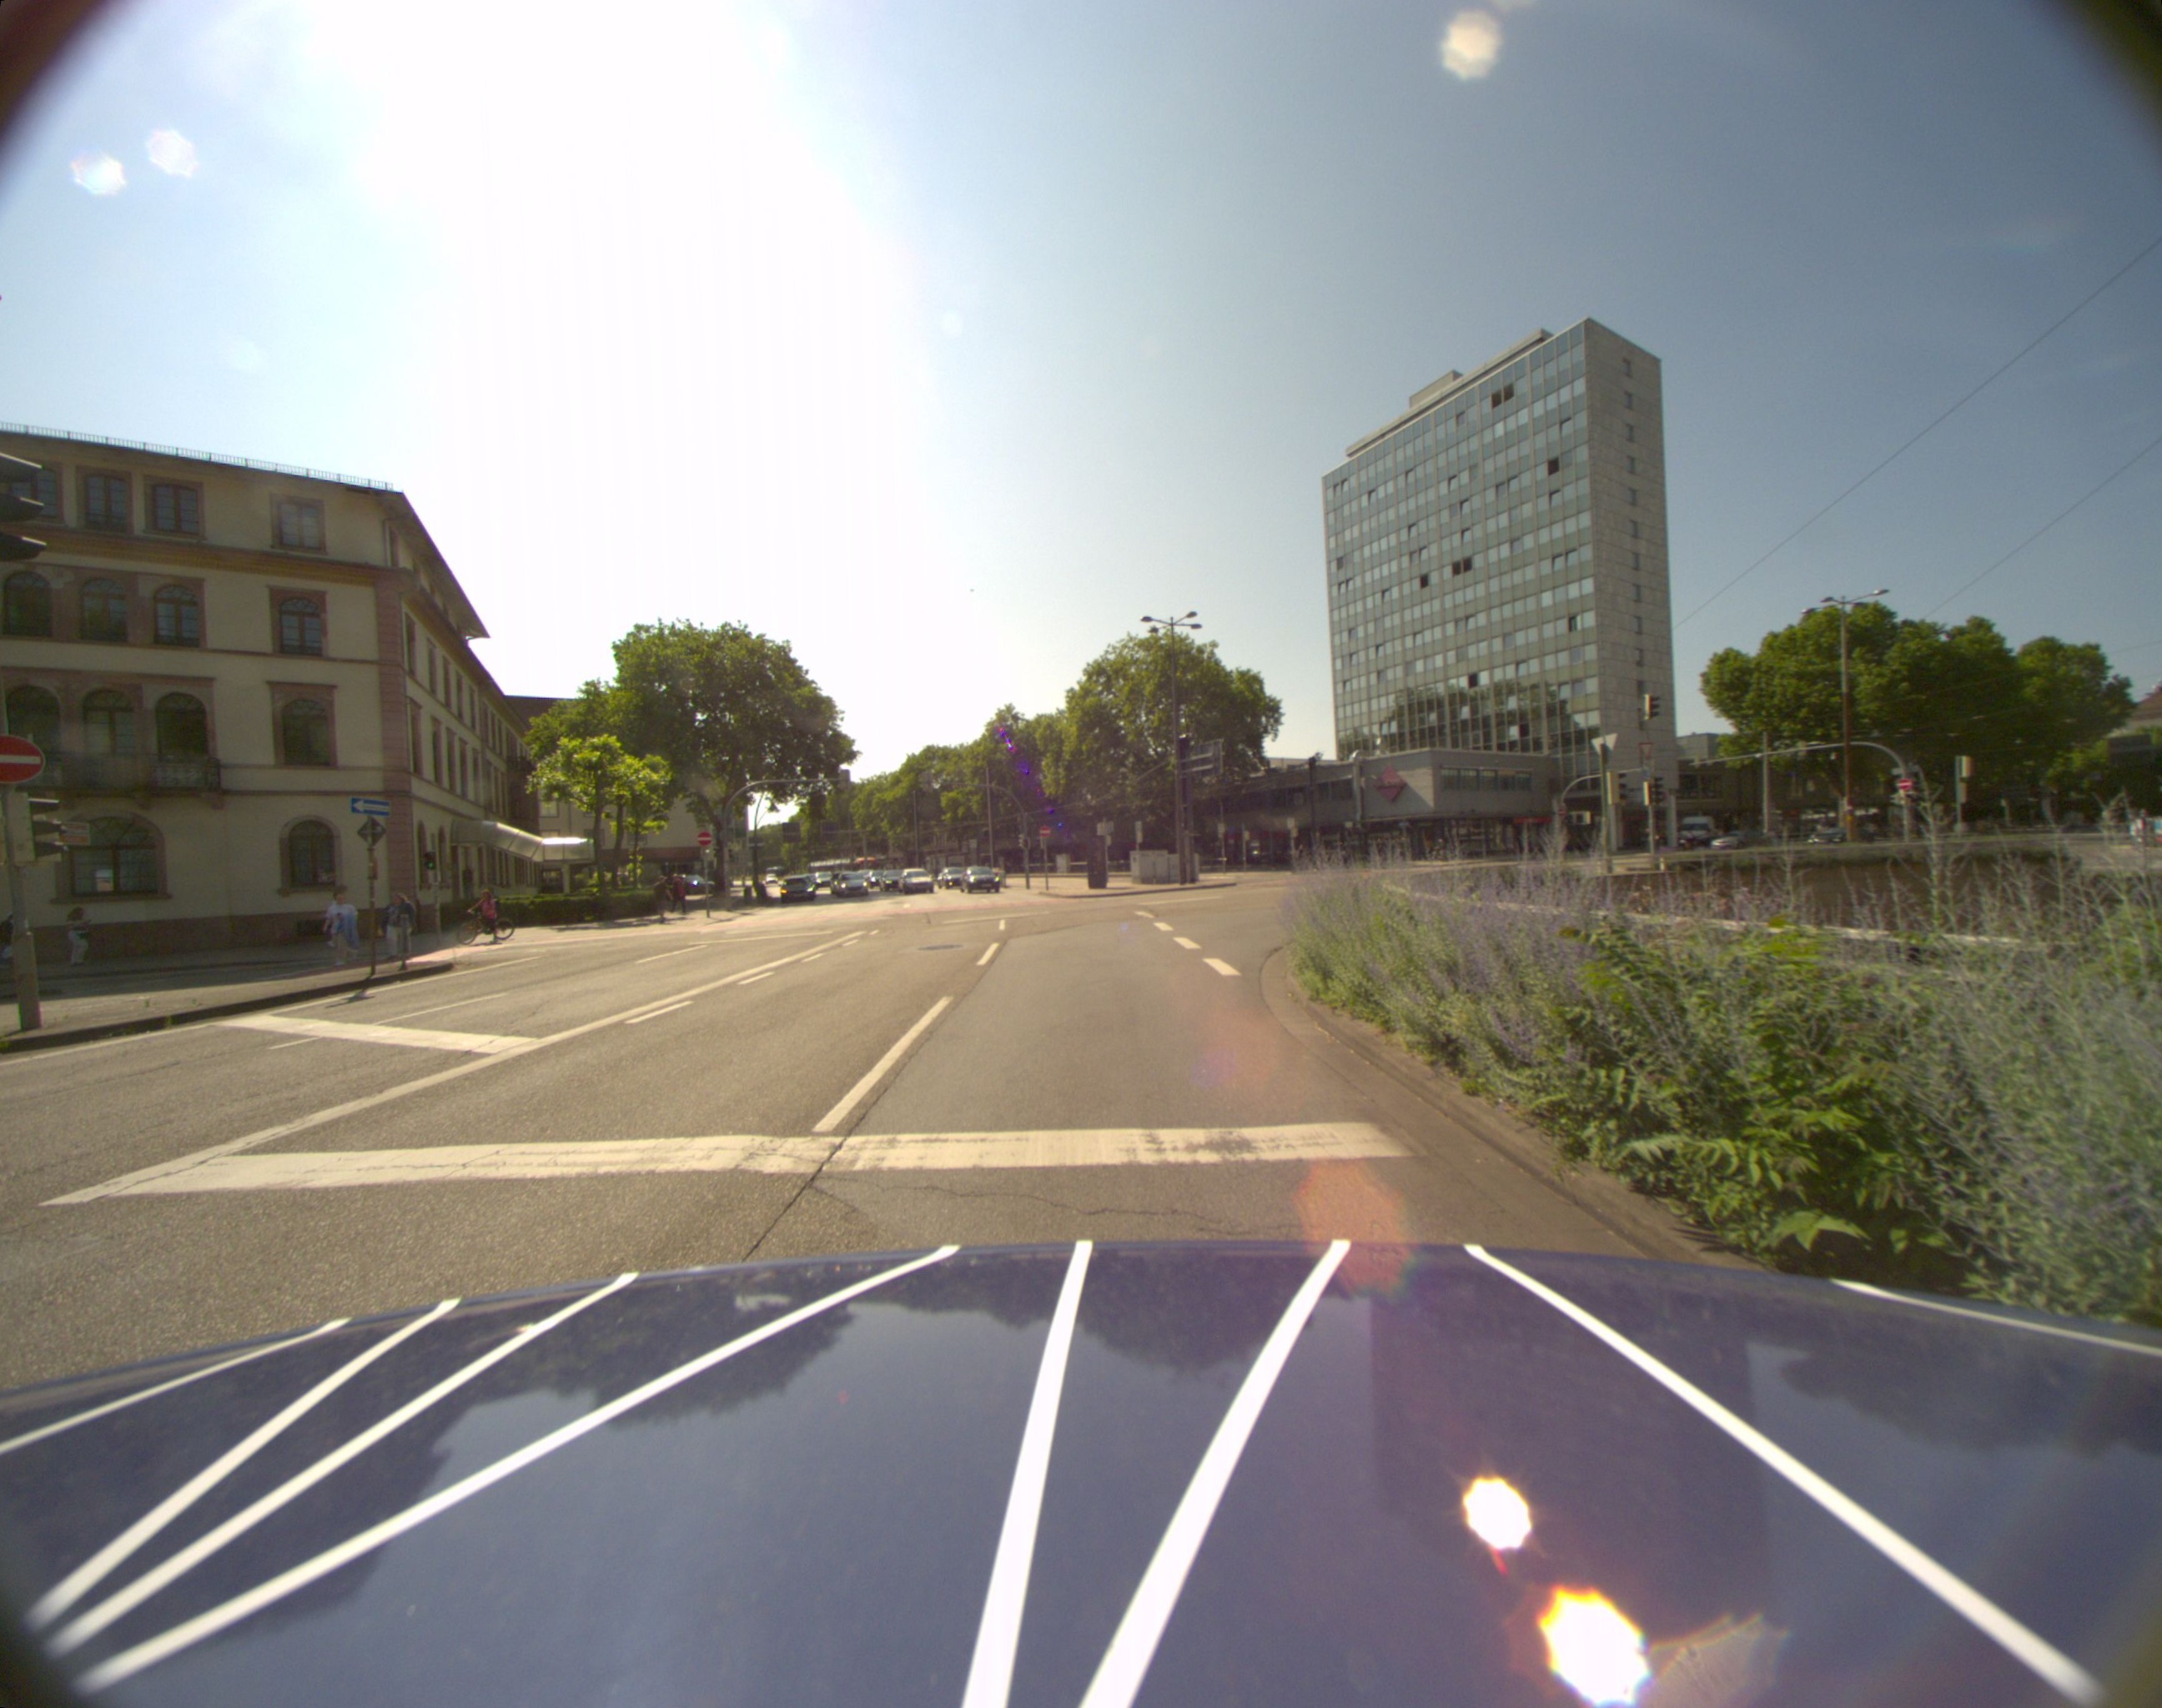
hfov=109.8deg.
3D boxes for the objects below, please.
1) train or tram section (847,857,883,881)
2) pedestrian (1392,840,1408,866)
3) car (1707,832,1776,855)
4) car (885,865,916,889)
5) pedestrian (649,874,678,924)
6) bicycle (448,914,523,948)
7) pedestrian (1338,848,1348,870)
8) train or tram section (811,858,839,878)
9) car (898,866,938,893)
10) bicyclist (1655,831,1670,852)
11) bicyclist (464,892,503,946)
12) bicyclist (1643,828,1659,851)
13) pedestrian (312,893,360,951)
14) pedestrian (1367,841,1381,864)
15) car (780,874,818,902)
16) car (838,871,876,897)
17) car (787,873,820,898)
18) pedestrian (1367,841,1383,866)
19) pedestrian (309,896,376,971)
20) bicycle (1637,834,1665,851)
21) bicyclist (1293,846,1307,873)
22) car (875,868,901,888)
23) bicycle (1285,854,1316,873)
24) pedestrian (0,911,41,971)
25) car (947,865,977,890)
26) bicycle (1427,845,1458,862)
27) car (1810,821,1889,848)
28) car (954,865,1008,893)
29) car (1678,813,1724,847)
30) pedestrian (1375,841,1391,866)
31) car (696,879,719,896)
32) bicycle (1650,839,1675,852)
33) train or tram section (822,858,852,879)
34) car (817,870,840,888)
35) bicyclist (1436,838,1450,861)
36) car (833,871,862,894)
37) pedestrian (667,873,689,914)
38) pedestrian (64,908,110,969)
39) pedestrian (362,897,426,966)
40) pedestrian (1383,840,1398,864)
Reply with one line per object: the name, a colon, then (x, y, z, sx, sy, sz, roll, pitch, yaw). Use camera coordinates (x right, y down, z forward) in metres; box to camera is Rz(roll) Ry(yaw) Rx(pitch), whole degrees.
train or tram section: (-31.361, 2.172, 110.053, 2.739, 3.248, 8.718, -3, 0, -31)
pedestrian: (23.328, -0.082, 55.598, 0.825, 1.825, 0.669, -2, 1, -31)
car: (48.692, -0.771, 56.054, 4.166, 1.451, 1.880, -3, 0, -17)
car: (-12.668, 1.584, 53.186, 1.793, 1.514, 3.968, -1, 0, -17)
pedestrian: (-15.952, 1.712, 29.026, 0.590, 1.834, 0.730, -3, 0, 37)
bicycle: (-18.611, 2.392, 23.796, 0.592, 0.850, 1.747, -3, 0, 20)
pedestrian: (20.418, 0.384, 59.198, 0.598, 1.628, 0.566, -2, 1, 25)
train or tram section: (-44.655, 2.525, 132.552, 2.739, 3.248, 8.718, -3, 0, -31)
car: (-9.872, 1.520, 45.876, 1.722, 1.491, 4.484, -1, -1, -20)
bicyclist: (44.427, -0.949, 58.044, 0.684, 1.518, 0.581, -3, 2, -19)
bicyclist: (-18.652, 2.022, 23.726, 0.592, 1.597, 0.685, -3, 0, 21)
bicyclist: (45.177, -1.160, 60.209, 0.684, 1.758, 0.696, -3, 2, -13)
pedestrian: (-23.256, 2.106, 23.738, 0.845, 1.685, 0.743, -3, 0, -31)
pedestrian: (22.799, -0.125, 59.148, 0.822, 1.795, 0.671, -2, 1, 8)
car: (-16.377, 1.952, 44.018, 1.794, 1.443, 3.966, -1, 0, -25)
car: (-13.725, 1.769, 46.416, 1.794, 1.443, 3.966, -1, 0, -23)
car: (-18.245, 2.019, 49.913, 1.794, 1.516, 3.966, -1, 0, -23)
pedestrian: (21.944, -0.005, 56.760, 0.825, 1.825, 0.733, -2, 1, -30)
pedestrian: (-17.512, 1.864, 18.042, 0.754, 1.650, 0.828, -3, 0, -11)
bicycle: (45.157, -0.923, 60.205, 1.940, 1.292, 0.715, -3, 2, -13)
bicyclist: (14.086, 0.327, 48.791, 0.684, 1.697, 0.521, -2, 1, -3)
car: (-15.123, 1.844, 59.402, 1.793, 1.514, 3.968, -1, 0, -17)
bicycle: (14.105, 0.602, 48.794, 1.815, 1.160, 0.521, -2, 1, -3)
pedestrian: (-30.830, 2.504, 22.000, 0.536, 1.639, 0.673, -3, 0, -27)
car: (-8.052, 1.566, 51.713, 1.792, 1.508, 3.972, -1, 0, -6)
bicycle: (26.710, -0.037, 56.111, 1.968, 1.096, 0.577, -3, 0, 0)
car: (49.511, -1.271, 48.956, 4.081, 1.525, 1.880, -3, 0, -17)
car: (-5.660, 1.354, 42.765, 1.794, 1.443, 4.272, -1, 0, -25)
car: (56.021, -2.169, 68.662, 4.643, 2.899, 1.744, -3, 0, -32)
pedestrian: (22.254, -0.049, 56.000, 0.825, 1.825, 0.670, -2, 1, -30)
car: (-31.878, 2.865, 64.893, 1.593, 1.314, 3.573, -3, 0, -25)
bicycle: (44.452, -0.630, 58.056, 1.812, 0.878, 0.592, -3, 2, -19)
train or tram section: (-40.236, 2.408, 125.030, 2.739, 3.248, 8.718, -3, 0, -31)
car: (-22.564, 2.231, 67.934, 1.793, 1.443, 3.968, -1, 0, -16)
bicyclist: (26.722, -0.348, 56.095, 0.683, 1.677, 0.584, -3, 0, 0)
car: (-16.354, 1.958, 53.110, 1.794, 1.521, 3.967, -1, 0, -19)
pedestrian: (-18.214, 1.774, 34.361, 0.727, 1.795, 0.651, -3, 0, -23)
pedestrian: (-28.315, 2.399, 21.647, 0.536, 1.639, 0.579, -3, 0, -26)
pedestrian: (-16.818, 1.887, 18.621, 0.773, 1.563, 0.829, -3, 0, -10)
pedestrian: (23.430, -0.163, 57.503, 0.823, 1.825, 0.671, -2, 1, 1)
